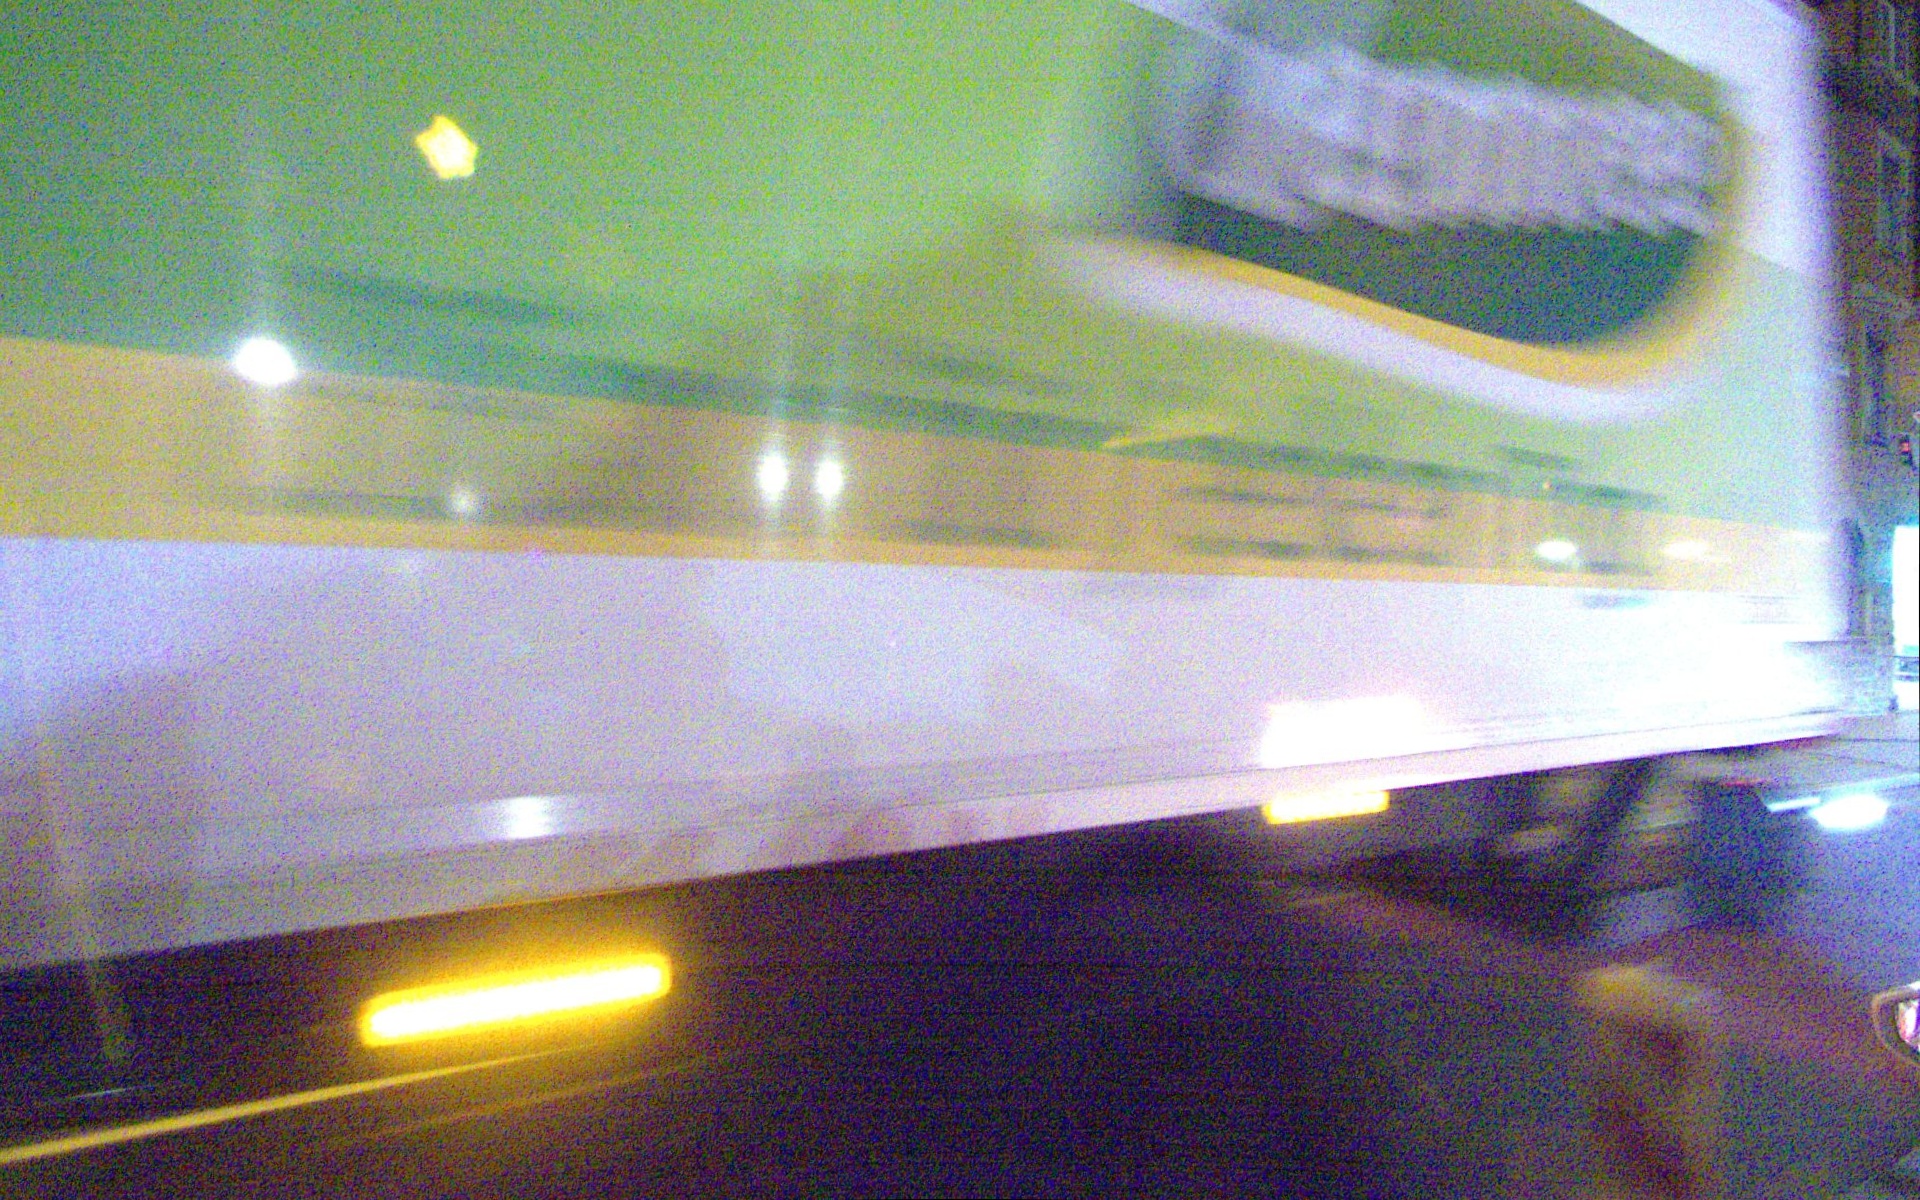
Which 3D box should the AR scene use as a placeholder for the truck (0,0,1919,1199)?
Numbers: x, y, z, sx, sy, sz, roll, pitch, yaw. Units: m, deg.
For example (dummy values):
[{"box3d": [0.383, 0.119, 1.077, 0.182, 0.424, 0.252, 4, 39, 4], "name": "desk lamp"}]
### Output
[{"box3d": [-1.944, -0.439, 1.941, 9.992, 3.767, 2.743, 1, -2, -30], "name": "truck"}]
